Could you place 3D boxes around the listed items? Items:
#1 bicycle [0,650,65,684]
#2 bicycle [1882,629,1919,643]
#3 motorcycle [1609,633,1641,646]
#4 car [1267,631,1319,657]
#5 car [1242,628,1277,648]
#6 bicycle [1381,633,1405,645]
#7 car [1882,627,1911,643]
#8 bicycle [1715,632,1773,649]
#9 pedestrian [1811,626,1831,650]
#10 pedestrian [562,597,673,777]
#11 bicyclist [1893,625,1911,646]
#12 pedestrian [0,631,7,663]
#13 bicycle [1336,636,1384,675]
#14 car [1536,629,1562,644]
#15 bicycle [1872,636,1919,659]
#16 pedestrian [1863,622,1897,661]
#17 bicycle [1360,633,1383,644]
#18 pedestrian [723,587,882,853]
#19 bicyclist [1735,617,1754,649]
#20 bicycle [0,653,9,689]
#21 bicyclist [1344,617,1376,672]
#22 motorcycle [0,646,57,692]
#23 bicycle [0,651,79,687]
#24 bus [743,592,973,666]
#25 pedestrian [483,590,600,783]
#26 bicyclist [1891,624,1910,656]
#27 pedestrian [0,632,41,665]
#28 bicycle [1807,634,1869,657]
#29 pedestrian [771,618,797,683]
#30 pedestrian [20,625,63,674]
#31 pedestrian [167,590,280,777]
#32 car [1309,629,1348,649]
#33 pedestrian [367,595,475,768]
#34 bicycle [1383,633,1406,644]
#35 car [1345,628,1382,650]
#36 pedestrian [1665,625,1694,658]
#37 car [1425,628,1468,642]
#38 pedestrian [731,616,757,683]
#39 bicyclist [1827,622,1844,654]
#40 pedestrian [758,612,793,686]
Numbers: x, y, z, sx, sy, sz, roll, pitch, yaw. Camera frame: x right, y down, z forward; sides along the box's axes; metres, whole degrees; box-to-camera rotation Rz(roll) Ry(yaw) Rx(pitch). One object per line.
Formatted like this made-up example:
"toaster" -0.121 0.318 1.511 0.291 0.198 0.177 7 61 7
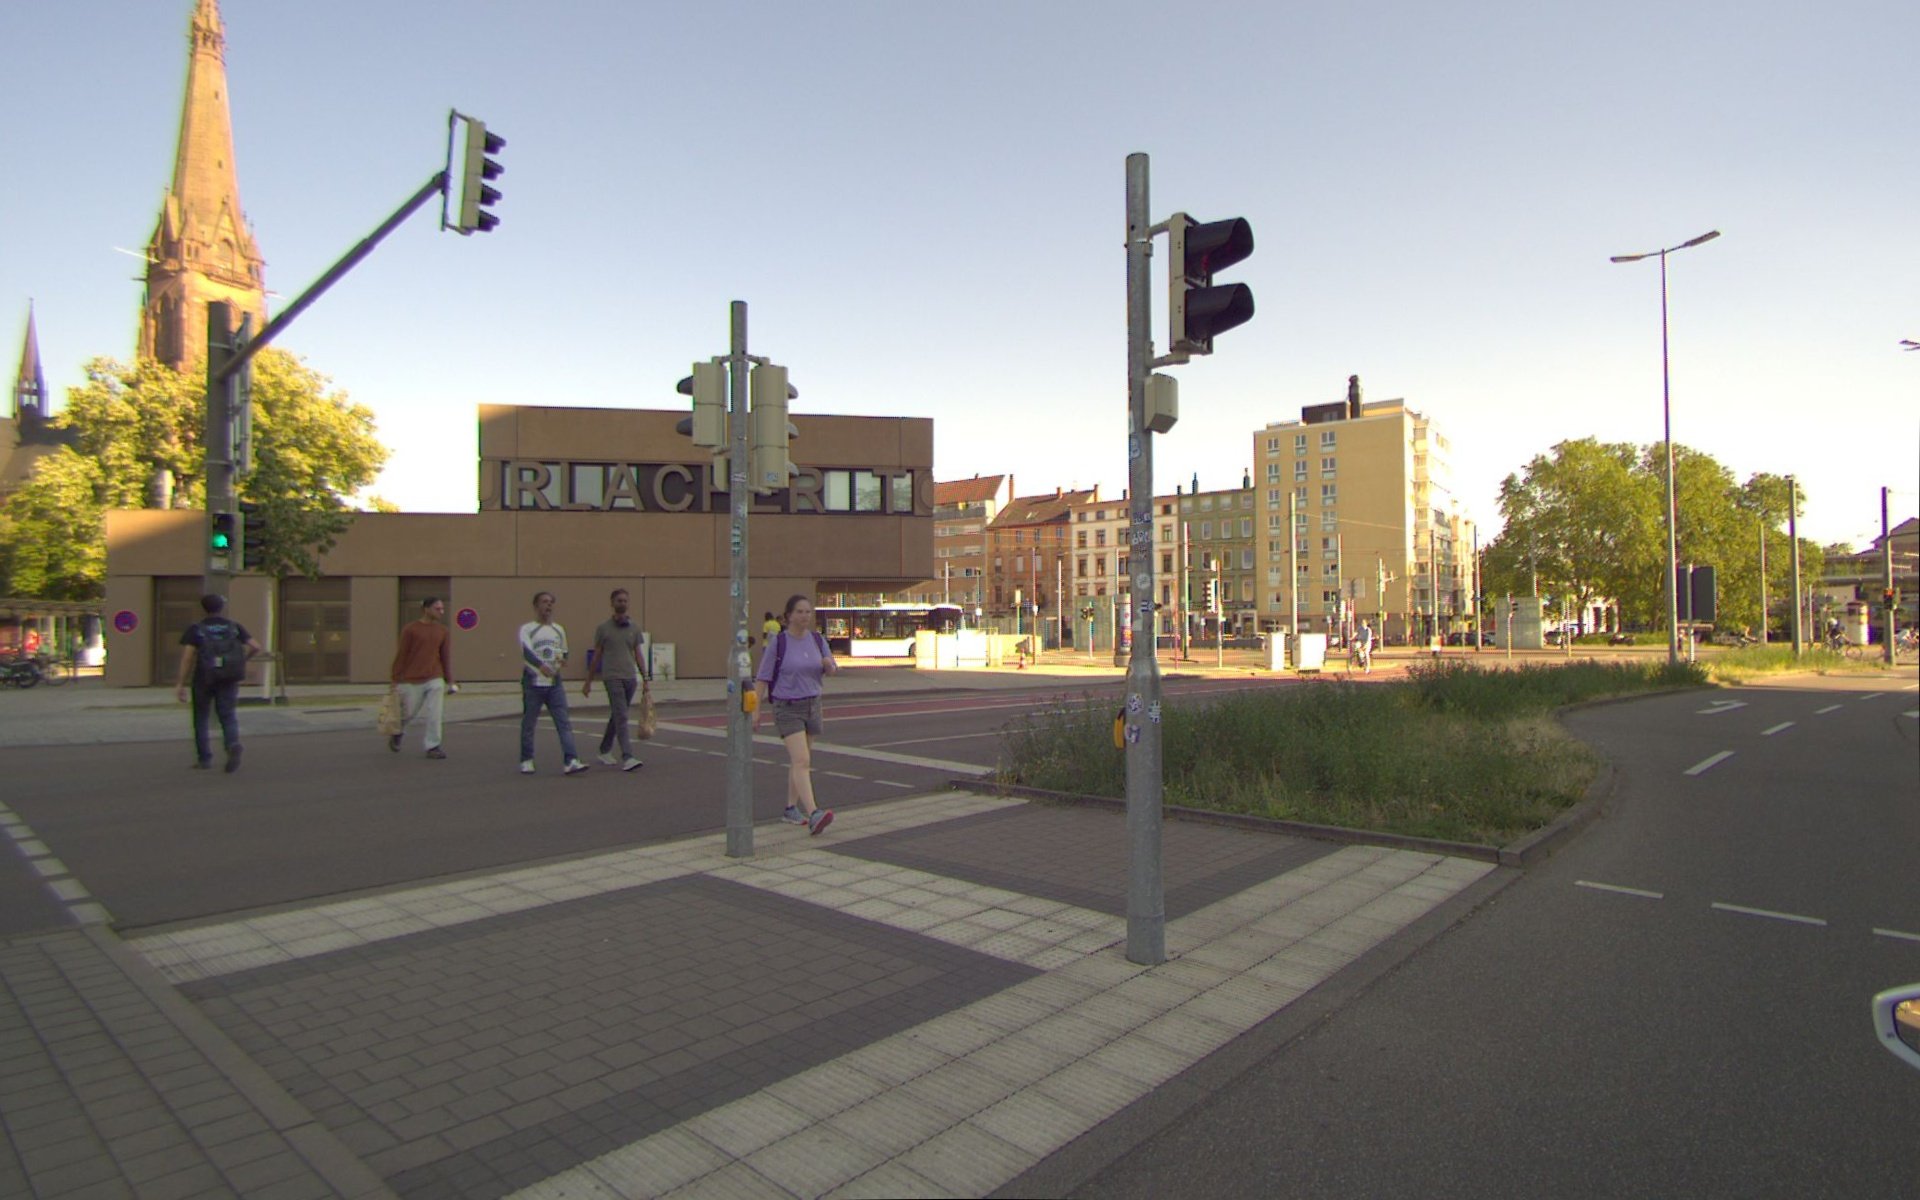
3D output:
"bicycle" -30.128 2.141 32.383 1.897 1.057 0.522 1 0 -11
"bicycle" 71.675 2.715 76.360 2.271 0.992 0.855 -1 0 43
"motorcycle" 58.027 3.421 87.683 2.259 1.068 0.684 -1 0 42
"car" 27.858 3.616 83.955 3.685 2.040 1.993 -1 0 35
"car" 29.504 3.751 99.001 2.047 1.742 4.007 -1 0 -5
"bicycle" 42.770 3.852 99.163 2.015 1.104 0.774 -1 -2 36
"car" 102.813 3.837 110.317 3.969 1.555 1.976 -1 0 -42
"bicycle" 43.187 2.222 55.368 2.459 0.886 0.858 -1 0 34
"pedestrian" 66.674 2.917 77.781 0.911 1.840 0.982 -1 0 -37
"pedestrian" -3.557 0.871 10.432 0.915 1.764 0.752 -2 -2 44
"bicyclist" 71.645 2.691 76.391 0.913 1.580 0.855 -1 0 41
"pedestrian" -42.058 2.038 43.232 1.059 1.367 1.052 -1 0 -7
"bicycle" 13.804 1.900 34.611 0.731 1.271 2.543 -1 -3 42
"car" 61.826 3.825 105.401 1.824 1.471 3.983 -1 -2 38
"bicycle" 50.796 2.561 54.041 2.461 1.148 0.857 -1 0 37
"pedestrian" 40.032 1.802 43.719 0.812 1.693 0.699 -1 -2 16
"bicycle" 41.451 3.875 101.185 2.015 1.104 0.774 -1 -2 36
"pedestrian" -1.145 0.819 7.281 0.915 1.764 0.752 -2 -2 44
"bicyclist" 43.214 1.820 55.349 0.735 1.713 0.858 -1 0 33
"bicycle" -29.816 2.128 30.107 1.897 1.057 0.522 1 0 -11
"bicyclist" 13.771 1.525 34.594 0.731 1.856 1.008 -1 -2 42
"motorcycle" -27.257 1.972 28.567 2.313 1.264 0.719 -1 0 -8
"bicycle" -27.921 2.088 30.418 1.817 1.057 0.521 1 0 -14
"bus" -5.483 1.674 54.358 11.968 3.359 3.247 2 -5 -10
"pedestrian" -4.097 0.815 9.827 0.915 1.764 0.752 -2 -2 44
"bicyclist" 50.681 2.152 54.125 0.641 1.713 0.857 -1 0 37
"pedestrian" -41.676 2.138 44.429 1.059 1.367 1.052 -1 0 -7
"bicycle" 47.387 2.456 54.223 2.466 1.148 0.855 -1 0 44
"pedestrian" -4.727 1.355 27.018 0.542 1.711 0.636 -1 0 -23
"pedestrian" -40.002 2.133 43.768 1.015 2.040 1.129 -1 0 -23
"pedestrian" -7.170 0.780 9.777 0.887 1.707 0.743 -2 -2 44
"car" 34.787 3.647 94.853 1.805 1.771 3.996 -1 0 -7
"pedestrian" -5.853 0.857 10.909 0.915 1.764 0.783 -2 -2 44
"bicycle" 43.215 3.845 99.886 2.015 1.104 0.774 -1 -2 36
"car" 37.440 3.593 93.264 1.816 1.882 4.000 -1 0 1
"pedestrian" 35.667 2.044 49.800 1.081 1.628 0.694 -1 0 44
"car" 52.468 3.779 108.319 3.931 1.441 1.809 -1 -2 33
"pedestrian" -5.861 1.334 27.285 0.653 1.754 0.735 -1 0 -11
"bicyclist" 47.326 2.052 54.276 0.642 1.713 0.855 -1 0 43
"pedestrian" -4.804 1.255 26.133 0.633 1.860 0.711 -1 0 -35
